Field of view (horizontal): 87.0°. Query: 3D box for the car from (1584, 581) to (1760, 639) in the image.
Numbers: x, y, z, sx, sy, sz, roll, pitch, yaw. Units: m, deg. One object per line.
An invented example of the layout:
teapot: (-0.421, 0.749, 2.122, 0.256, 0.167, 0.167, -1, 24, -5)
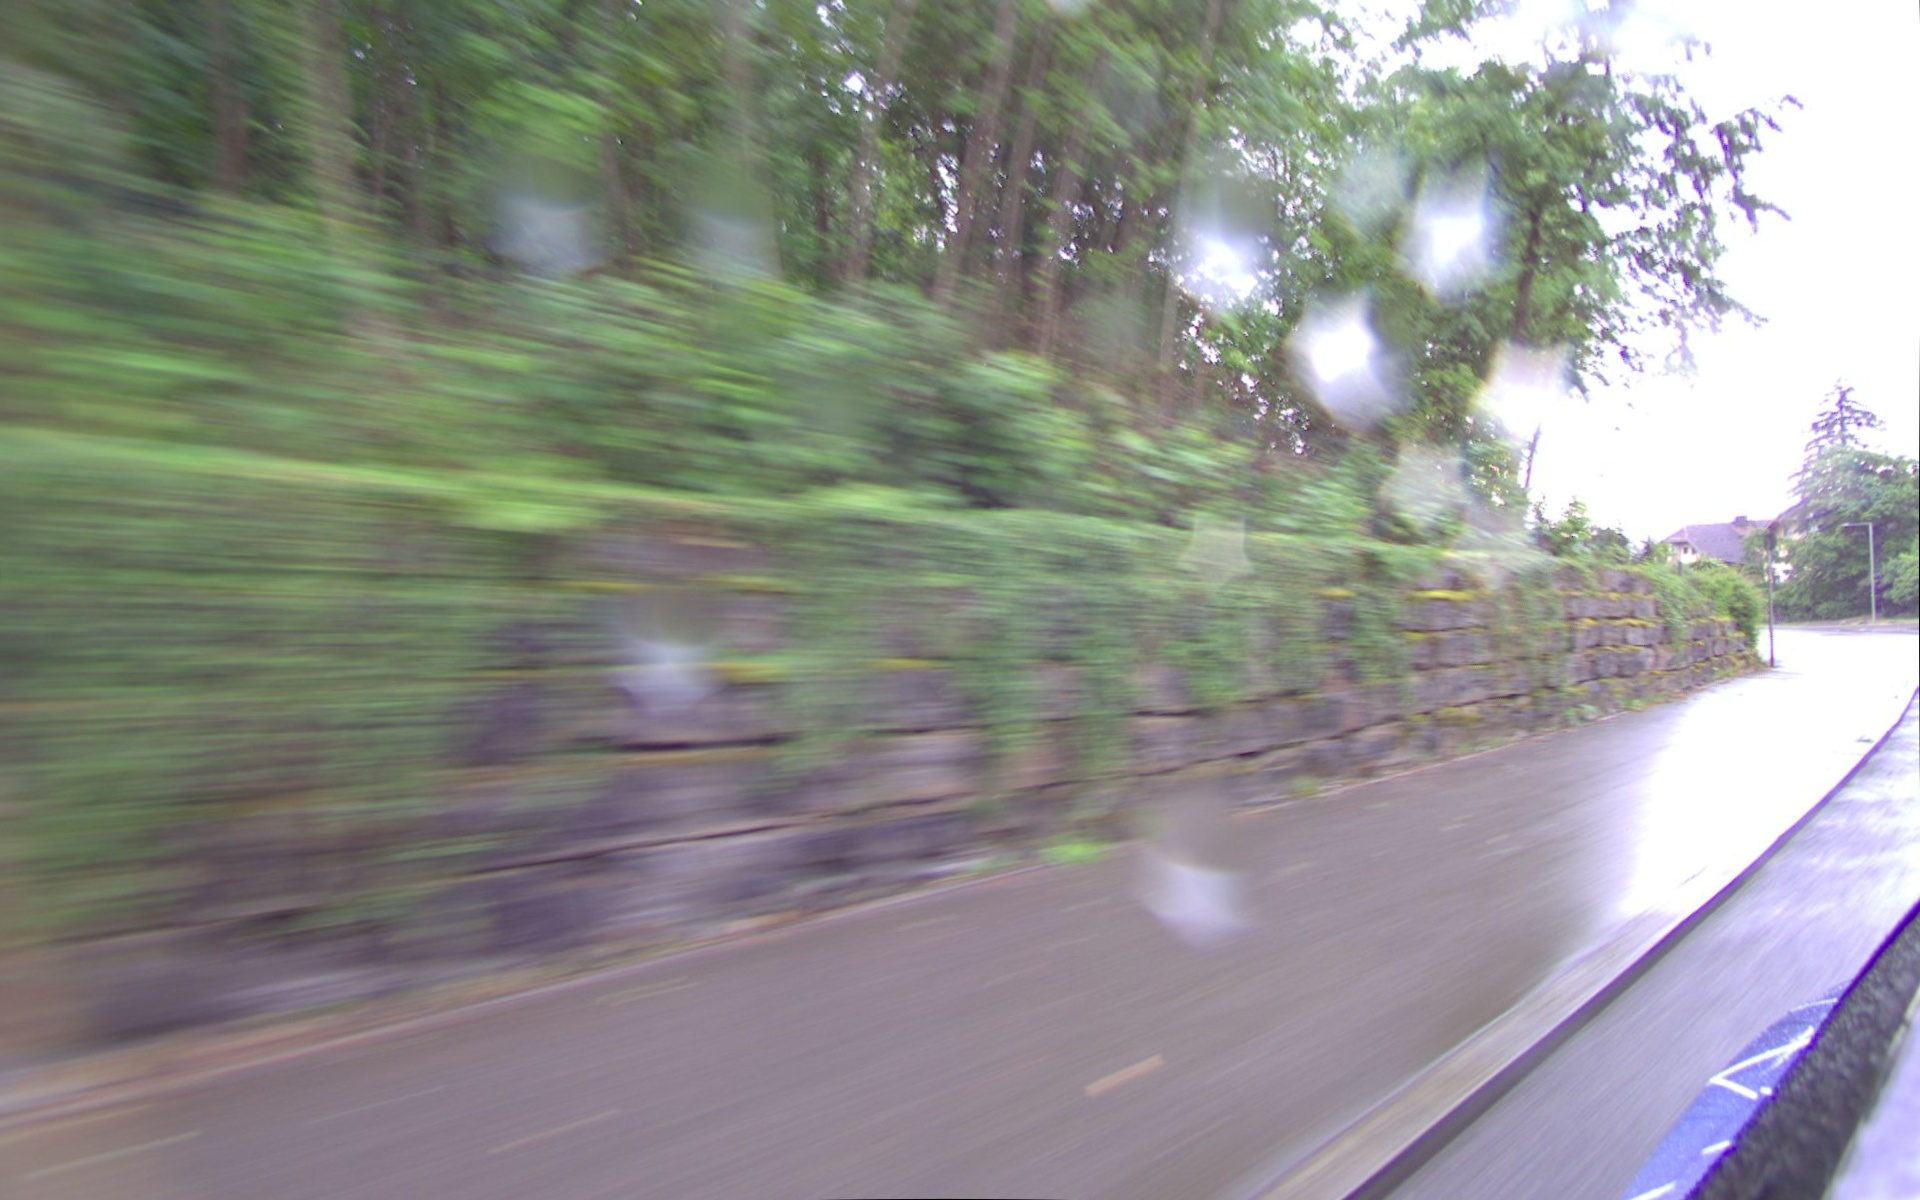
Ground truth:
car: (25.060, 0.351, 35.742, 4.747, 1.965, 2.157, 0, -1, -3)
